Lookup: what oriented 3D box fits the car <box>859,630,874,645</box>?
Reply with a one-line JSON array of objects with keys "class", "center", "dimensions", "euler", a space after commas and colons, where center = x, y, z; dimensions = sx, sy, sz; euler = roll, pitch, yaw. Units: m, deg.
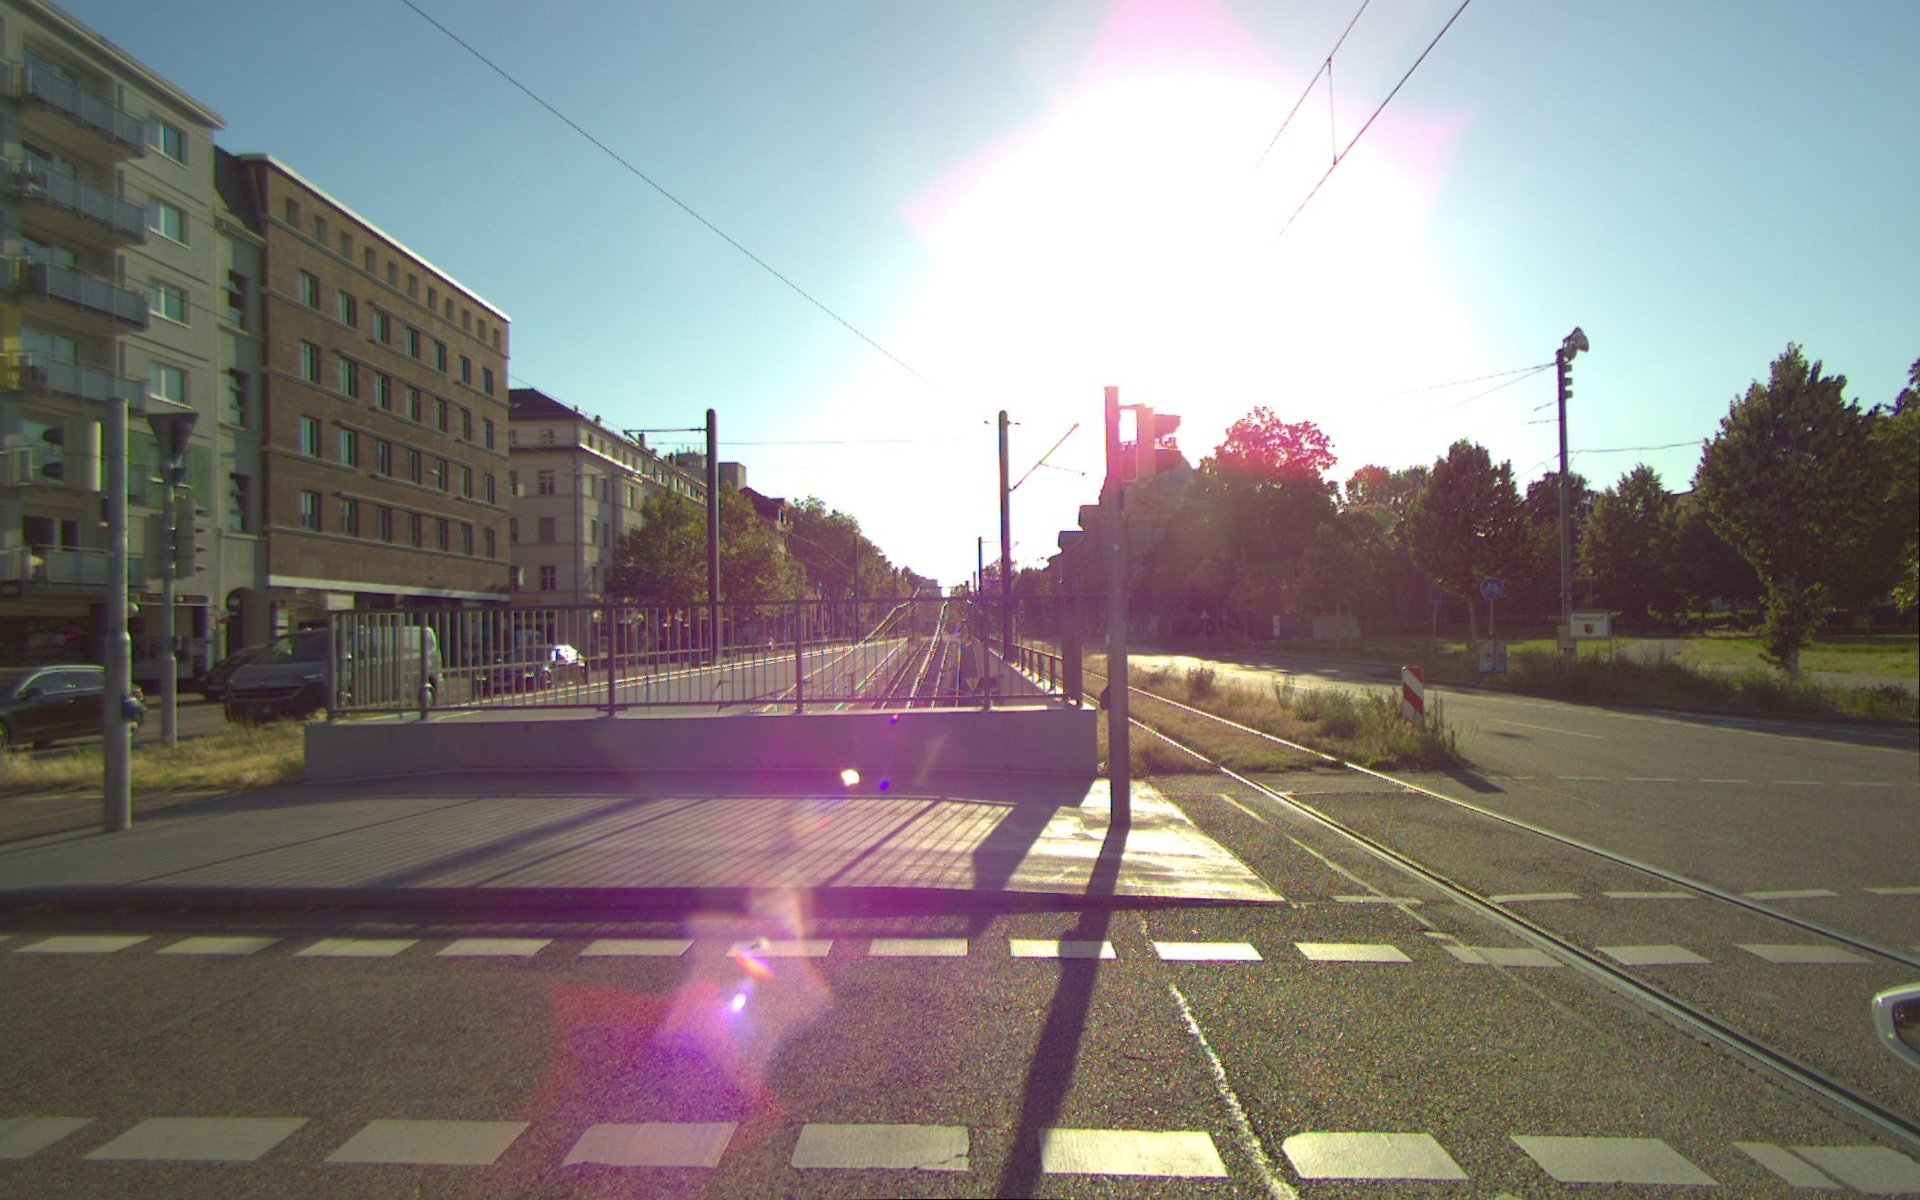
[{"class": "car", "center": [-12.820, 5.147, 138.342], "dimensions": [1.962, 2.040, 3.998], "euler": [-1, -2, -5]}]

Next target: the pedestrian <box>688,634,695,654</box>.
[{"class": "pedestrian", "center": [-24.176, 3.956, 90.322], "dimensions": [0.482, 1.731, 0.550], "euler": [-1, -1, 1]}]

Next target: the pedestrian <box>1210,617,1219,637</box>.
[{"class": "pedestrian", "center": [23.986, 2.558, 94.712], "dimensions": [0.672, 1.847, 0.535], "euler": [-1, -1, 5]}]

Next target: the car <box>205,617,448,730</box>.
[{"class": "car", "center": [-12.918, 1.418, 20.960], "dimensions": [1.961, 2.040, 4.940], "euler": [-1, -2, 0]}]

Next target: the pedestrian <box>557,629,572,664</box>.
[{"class": "pedestrian", "center": [-23.646, 2.775, 60.041], "dimensions": [0.706, 2.040, 0.727], "euler": [-1, -1, -9]}]

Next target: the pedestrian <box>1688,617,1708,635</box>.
[{"class": "pedestrian", "center": [51.381, 1.792, 69.930], "dimensions": [0.797, 1.203, 0.845], "euler": [-1, -1, 1]}]

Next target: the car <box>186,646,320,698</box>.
[{"class": "car", "center": [-23.396, 2.356, 33.420], "dimensions": [1.663, 1.528, 4.000], "euler": [-1, -2, -1]}]

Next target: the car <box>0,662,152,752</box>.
[{"class": "car", "center": [-16.175, 1.791, 16.909], "dimensions": [1.766, 1.330, 4.202], "euler": [-1, -2, 0]}]

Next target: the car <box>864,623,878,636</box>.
[{"class": "car", "center": [-15.095, 5.017, 170.791], "dimensions": [1.960, 2.274, 4.001], "euler": [-1, -1, 0]}]

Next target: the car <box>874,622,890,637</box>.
[{"class": "car", "center": [-10.454, 3.962, 134.554], "dimensions": [1.962, 2.040, 3.998], "euler": [-1, -2, -5]}]

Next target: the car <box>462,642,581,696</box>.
[{"class": "car", "center": [-12.742, 1.981, 29.448], "dimensions": [1.766, 1.392, 3.914], "euler": [-1, -2, 0]}]

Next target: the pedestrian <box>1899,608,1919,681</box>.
[{"class": "pedestrian", "center": [23.195, 1.064, 23.902], "dimensions": [0.827, 1.719, 1.017], "euler": [-1, 0, 13]}]
